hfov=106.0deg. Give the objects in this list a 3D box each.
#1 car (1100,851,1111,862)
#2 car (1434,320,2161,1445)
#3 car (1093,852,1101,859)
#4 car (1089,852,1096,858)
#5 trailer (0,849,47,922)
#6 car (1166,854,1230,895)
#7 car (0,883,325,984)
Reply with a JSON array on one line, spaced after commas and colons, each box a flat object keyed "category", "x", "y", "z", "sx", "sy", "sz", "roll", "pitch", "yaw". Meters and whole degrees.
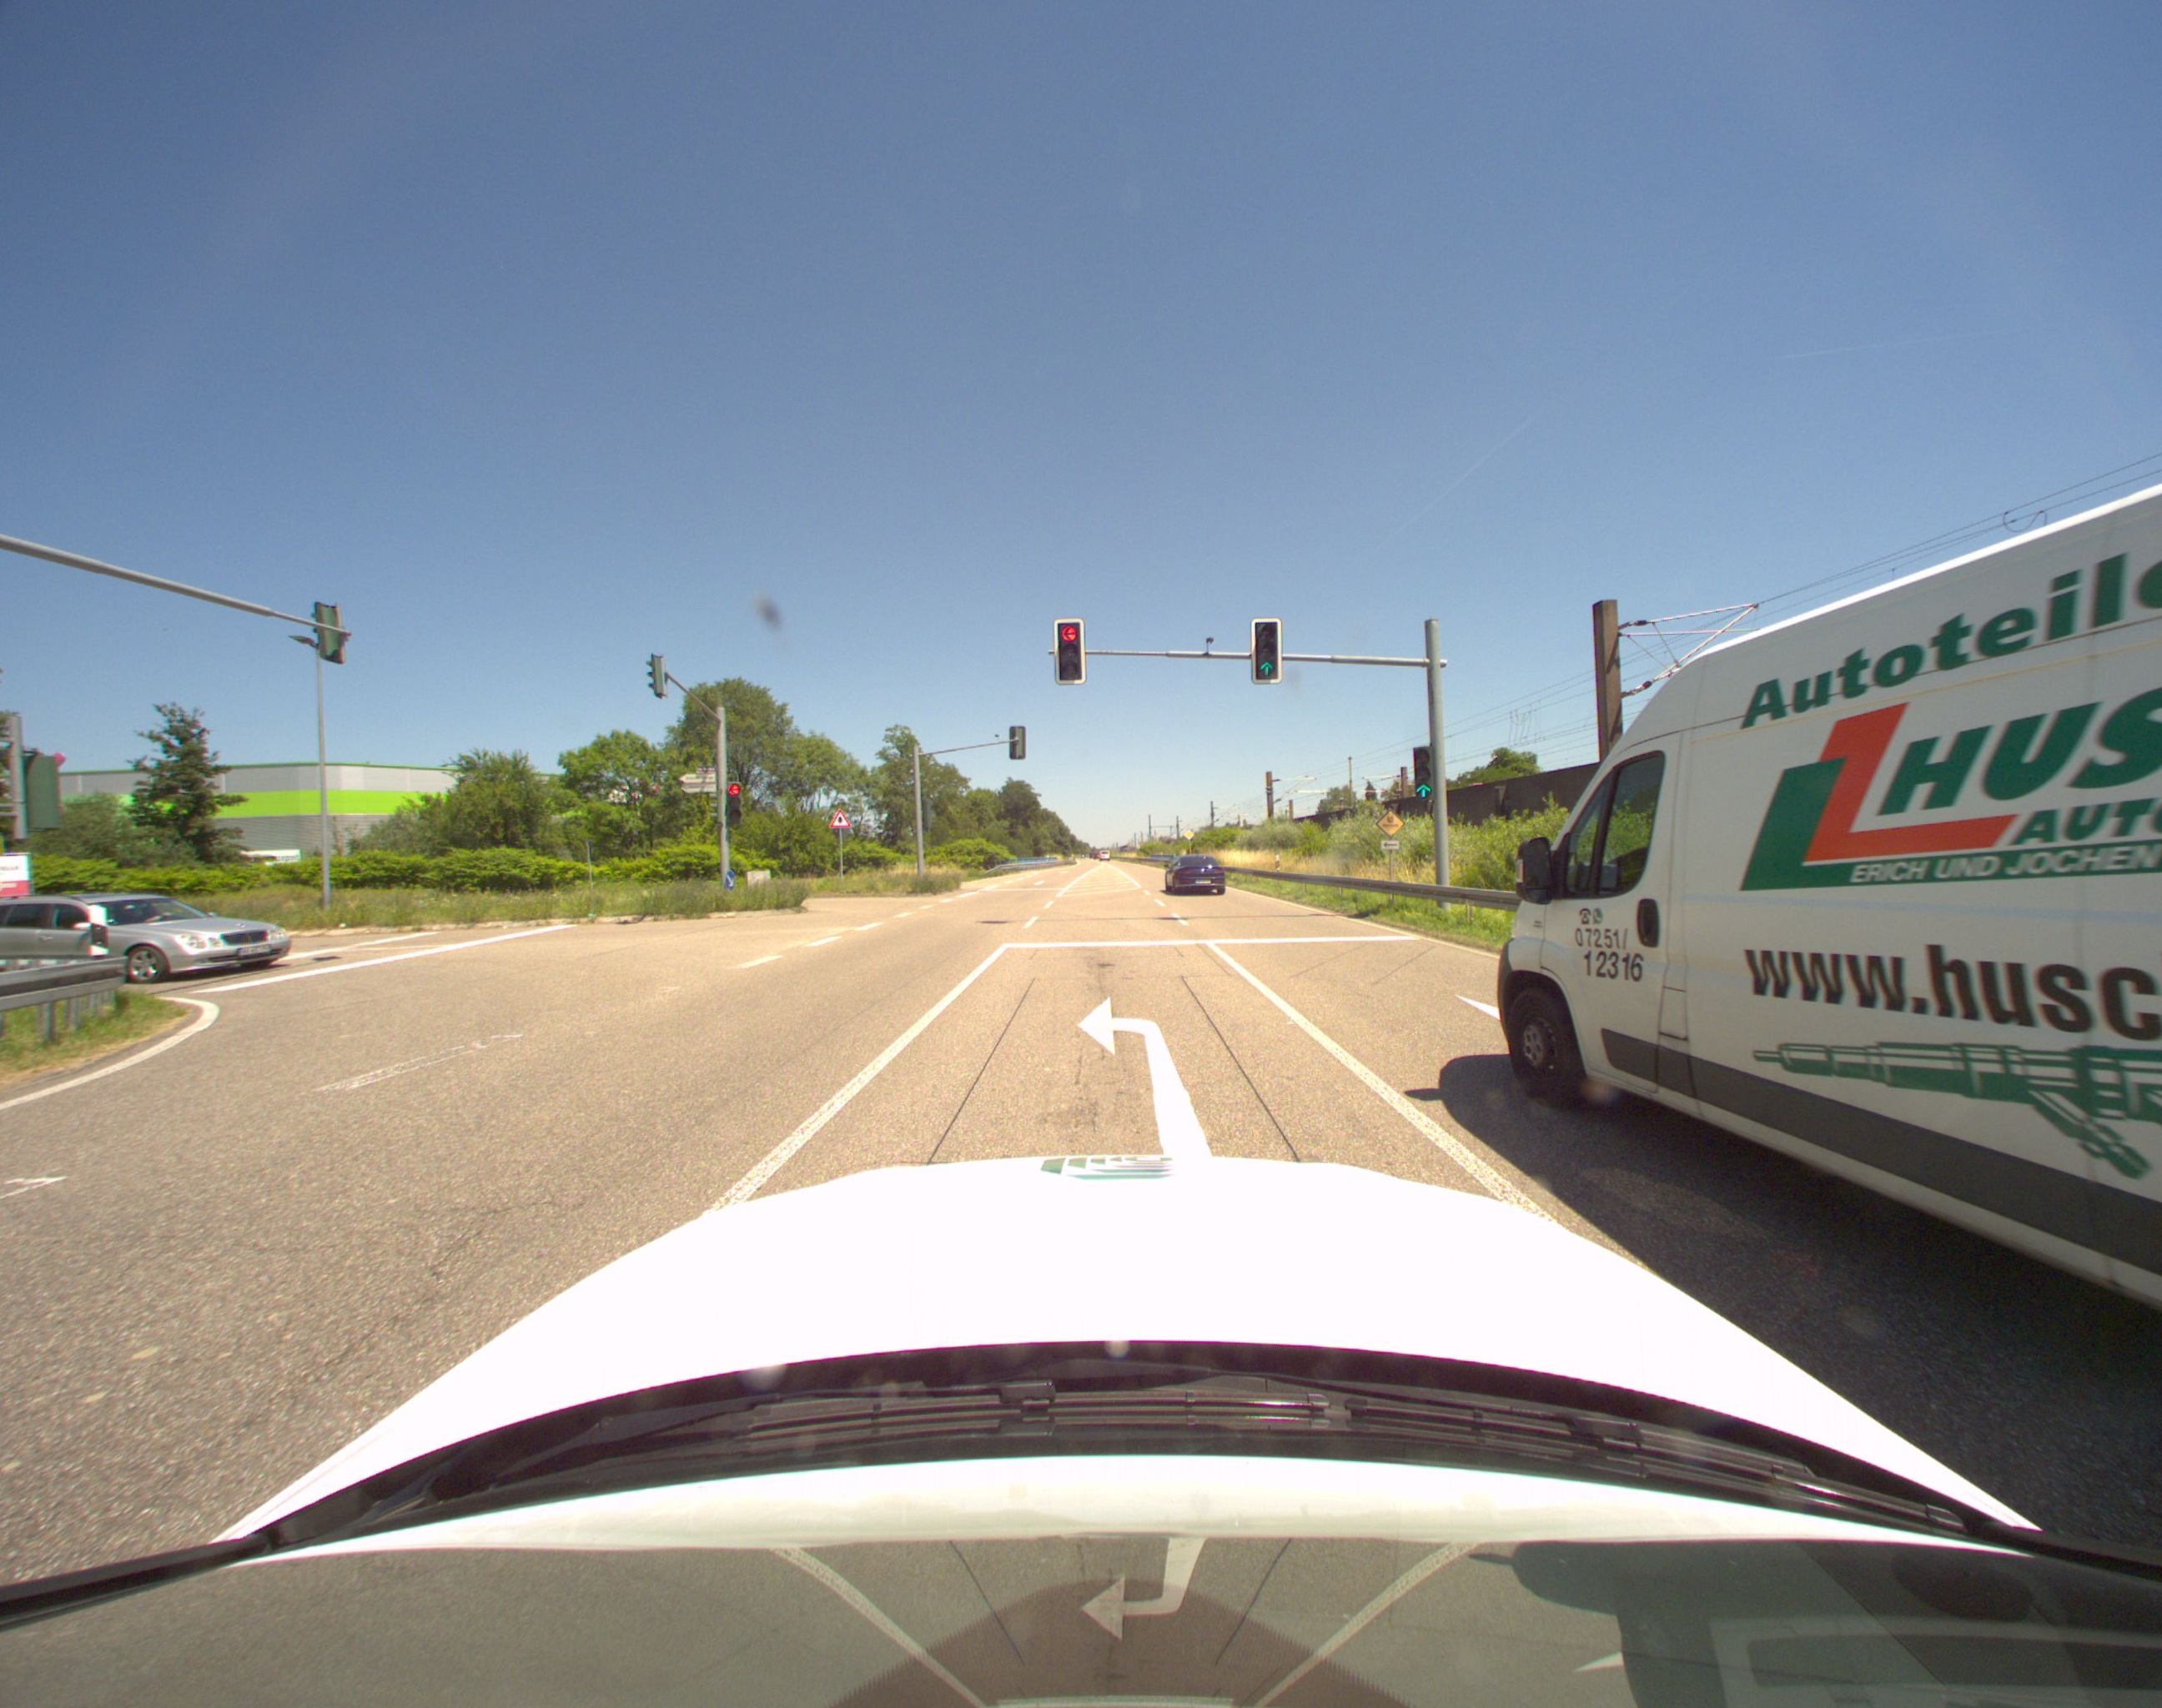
[{"category": "car", "x": 4.608, "y": 0.453, "z": 155.887, "sx": 1.987, "sy": 1.983, "sz": 4.060, "roll": -1, "pitch": 0, "yaw": 0}, {"category": "car", "x": 3.612, "y": 0.059, "z": 2.618, "sx": 2.180, "sy": 2.604, "sz": 6.753, "roll": -1, "pitch": 0, "yaw": 2}, {"category": "car", "x": 3.944, "y": 0.285, "z": 204.058, "sx": 2.013, "sy": 1.726, "sz": 4.542, "roll": -1, "pitch": 0, "yaw": 0}, {"category": "car", "x": 3.630, "y": 0.371, "z": 261.791, "sx": 2.148, "sy": 1.968, "sz": 4.542, "roll": -1, "pitch": 0, "yaw": 0}, {"category": "trailer", "x": -42.327, "y": 1.239, "z": 30.781, "sx": 3.780, "sy": 2.764, "sz": 1.804, "roll": -1, "pitch": 0, "yaw": -45}, {"category": "car", "x": 4.203, "y": 0.697, "z": 29.950, "sx": 1.850, "sy": 1.379, "sz": 4.505, "roll": -1, "pitch": 0, "yaw": 2}, {"category": "car", "x": -16.293, "y": 1.330, "z": 13.969, "sx": 4.935, "sy": 1.457, "sz": 1.879, "roll": -2, "pitch": 0, "yaw": 2}]
